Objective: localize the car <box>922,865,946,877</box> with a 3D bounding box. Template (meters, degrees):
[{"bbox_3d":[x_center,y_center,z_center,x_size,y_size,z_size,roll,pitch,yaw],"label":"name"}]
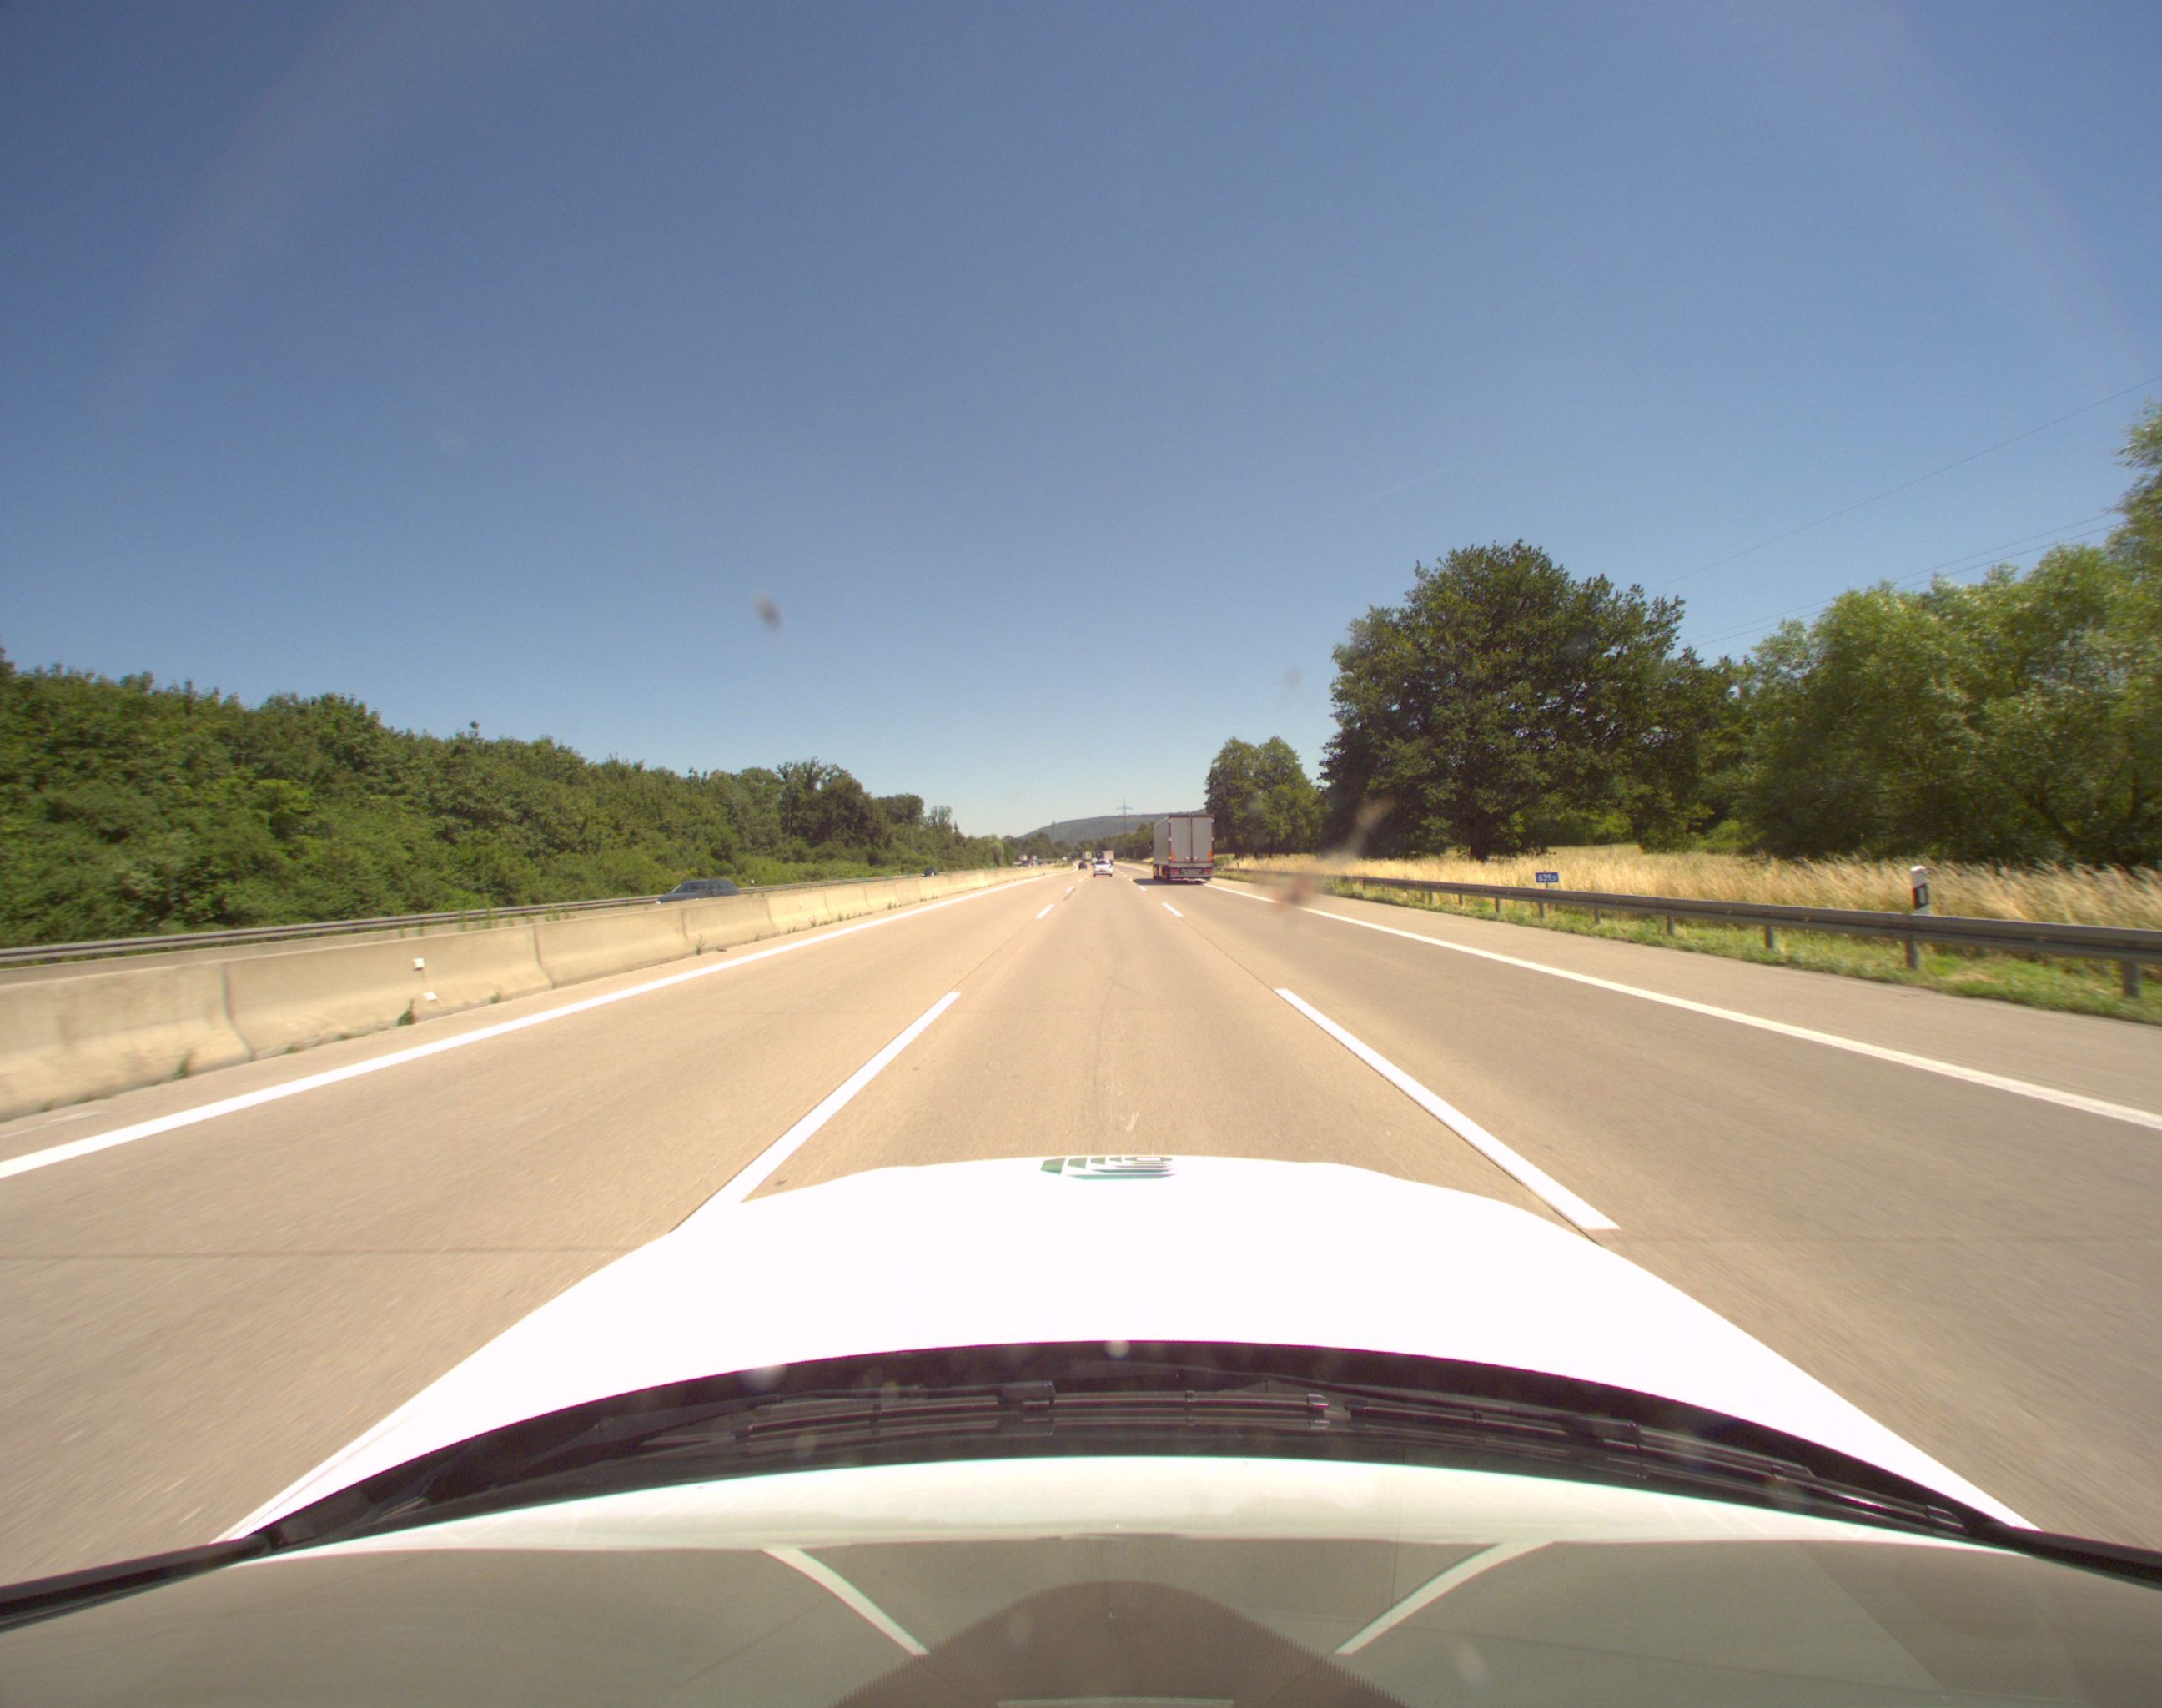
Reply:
[{"bbox_3d":[-17.720,2.041,98.203,1.920,1.376,4.002,-2,-1,2],"label":"car"}]

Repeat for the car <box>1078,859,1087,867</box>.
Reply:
[{"bbox_3d":[0.278,1.943,178.145,2.016,1.700,3.998,0,0,-1],"label":"car"}]

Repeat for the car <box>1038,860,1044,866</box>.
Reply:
[{"bbox_3d":[-11.499,2.454,233.978,1.697,1.658,4.406,-1,0,0],"label":"car"}]

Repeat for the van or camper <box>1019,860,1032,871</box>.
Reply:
[{"bbox_3d":[-9.585,2.033,142.077,1.841,1.882,4.417,-2,-1,1],"label":"van or camper"}]

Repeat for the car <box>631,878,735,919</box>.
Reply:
[{"bbox_3d":[-15.471,1.691,31.977,1.671,1.315,4.860,-1,0,0],"label":"car"}]

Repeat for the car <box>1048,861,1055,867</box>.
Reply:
[{"bbox_3d":[-9.359,3.222,260.280,1.794,1.670,4.217,-3,-1,0],"label":"car"}]

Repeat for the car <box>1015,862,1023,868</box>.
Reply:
[{"bbox_3d":[-16.895,3.084,222.181,1.697,1.658,4.089,-2,-1,0],"label":"car"}]

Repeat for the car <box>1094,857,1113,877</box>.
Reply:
[{"bbox_3d":[1.949,1.116,71.619,1.635,1.662,3.361,0,0,1],"label":"car"}]

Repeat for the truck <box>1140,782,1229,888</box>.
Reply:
[{"bbox_3d":[6.435,-1.075,54.500,3.565,5.787,18.244,-1,0,0],"label":"truck"}]

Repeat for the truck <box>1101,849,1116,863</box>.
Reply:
[{"bbox_3d":[8.653,0.669,254.544,3.808,3.889,14.149,-5,0,0],"label":"truck"}]
